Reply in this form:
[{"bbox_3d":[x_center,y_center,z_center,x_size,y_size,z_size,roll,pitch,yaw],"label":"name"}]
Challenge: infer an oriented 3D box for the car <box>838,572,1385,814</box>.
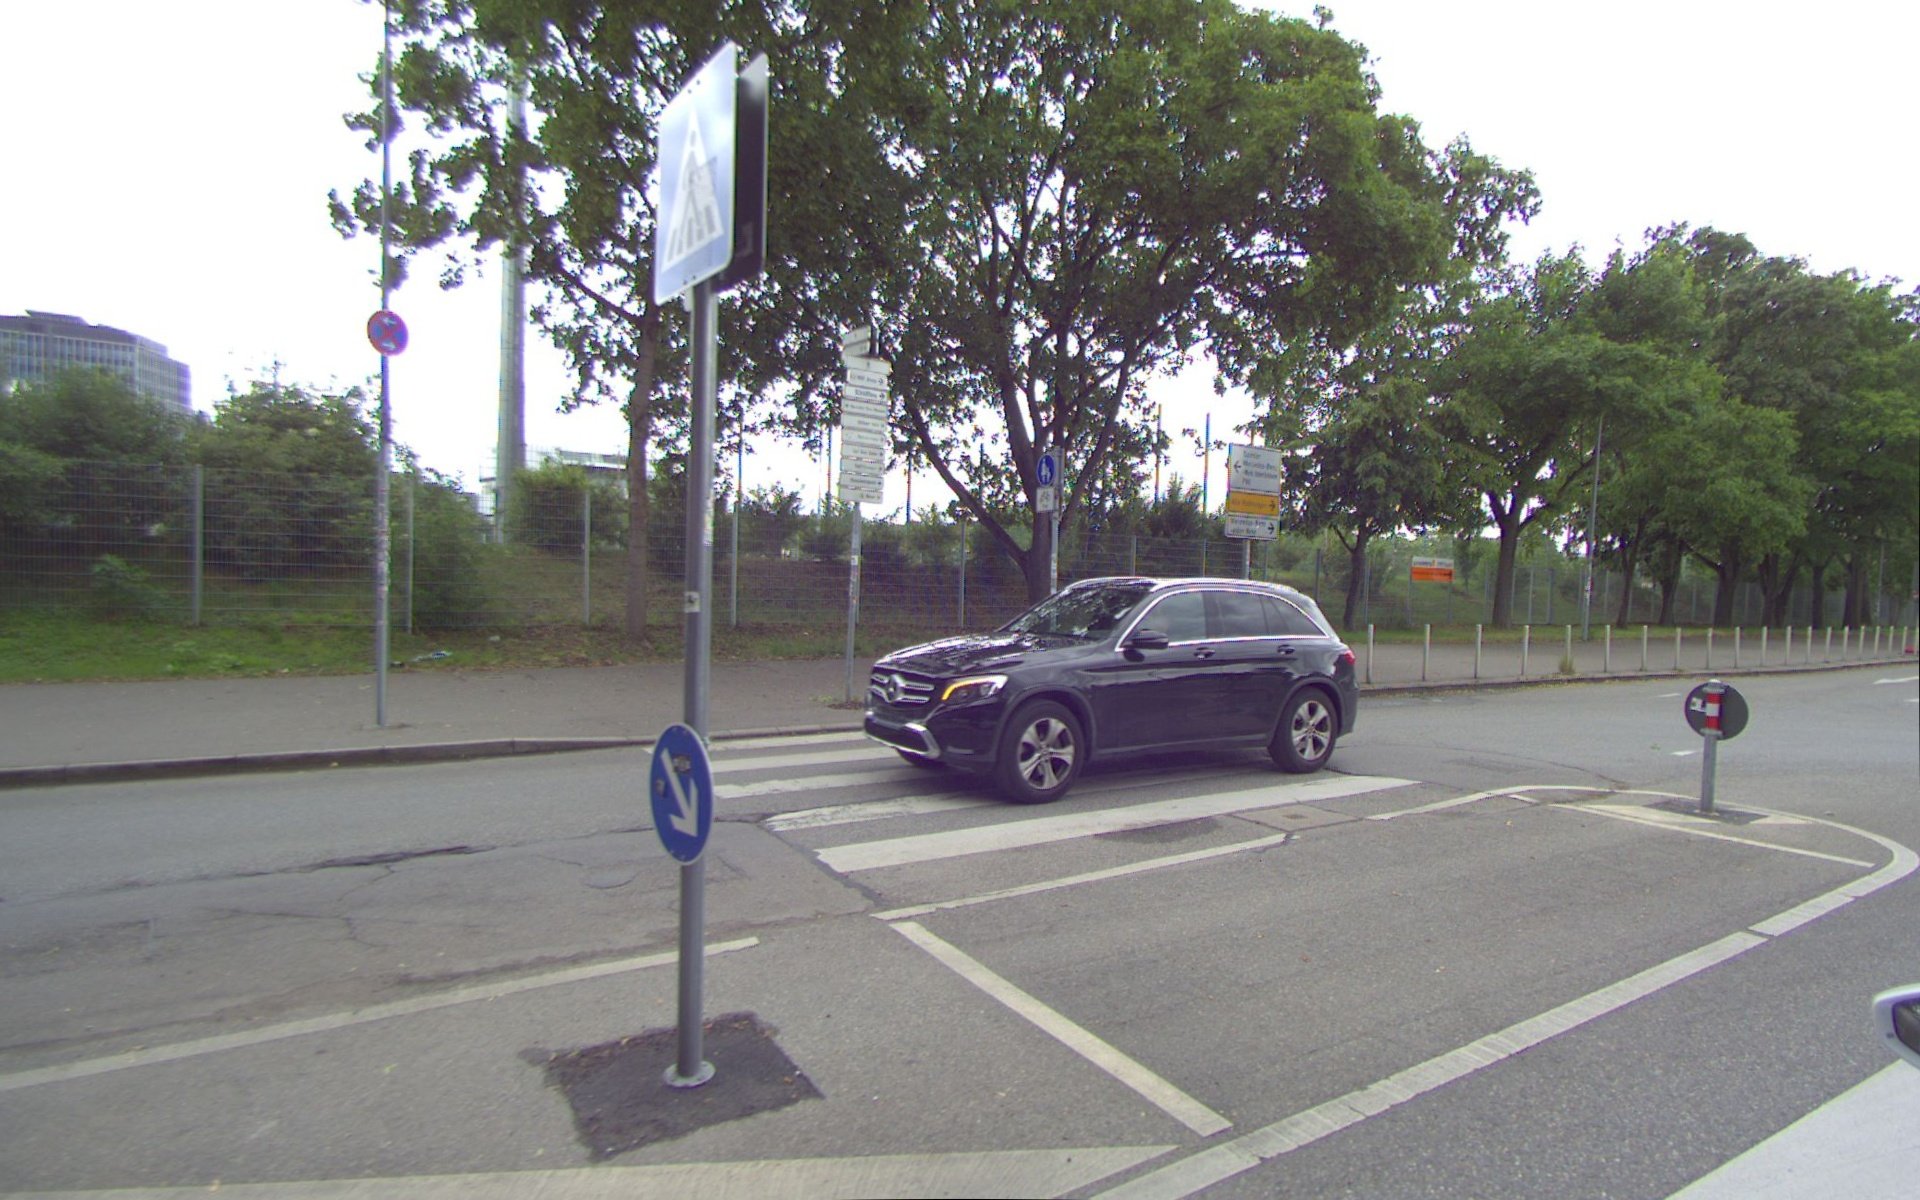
[{"bbox_3d":[1.395,0.620,8.593,4.498,1.595,1.830,1,1,-32],"label":"car"}]
